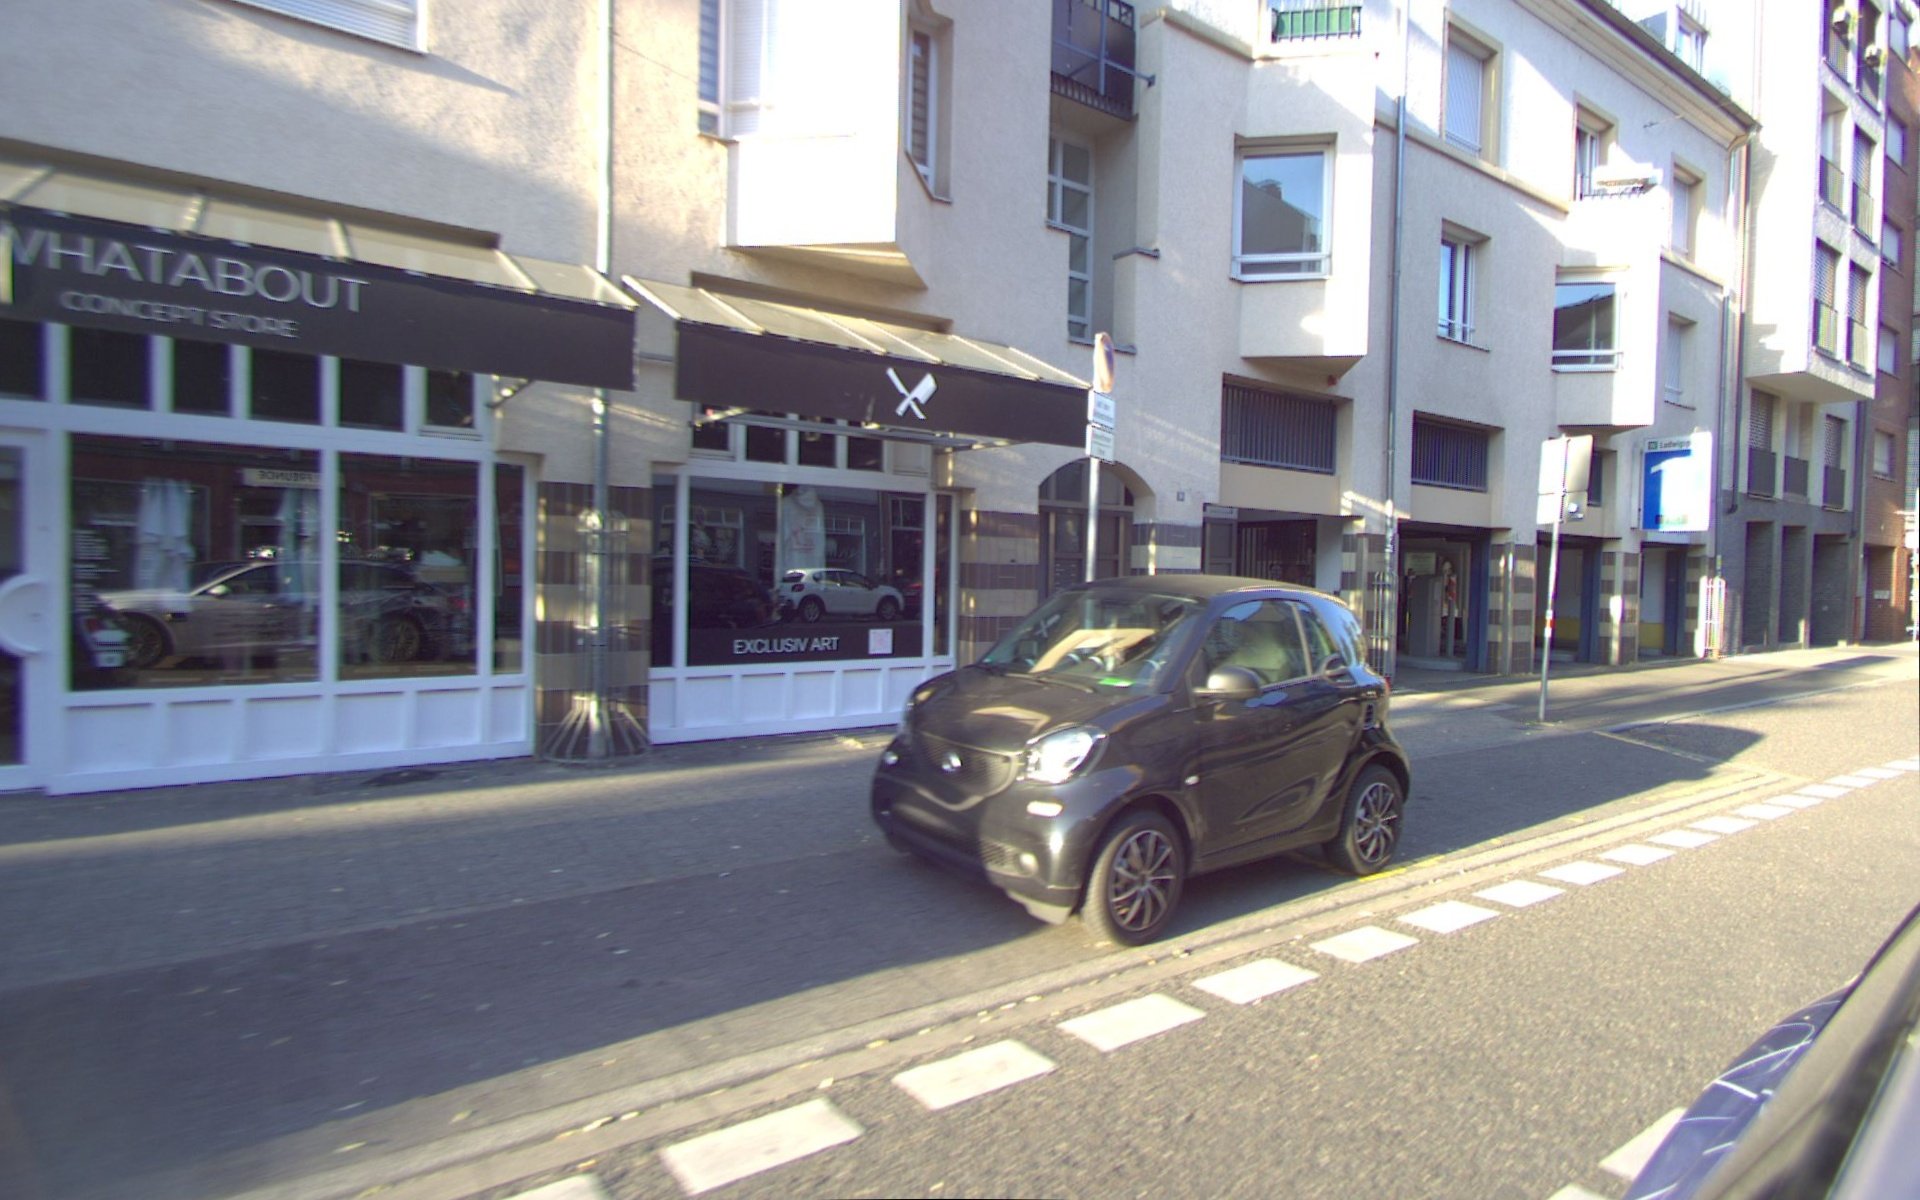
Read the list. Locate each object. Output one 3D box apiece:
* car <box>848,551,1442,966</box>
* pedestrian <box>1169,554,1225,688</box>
[{"bbox_3d":[1.012,0.570,5.312,2.750,1.568,1.573,0,3,-36],"label":"car"},{"bbox_3d":[2.903,0.240,12.392,0.481,1.592,0.460,0,2,-42],"label":"pedestrian"}]
